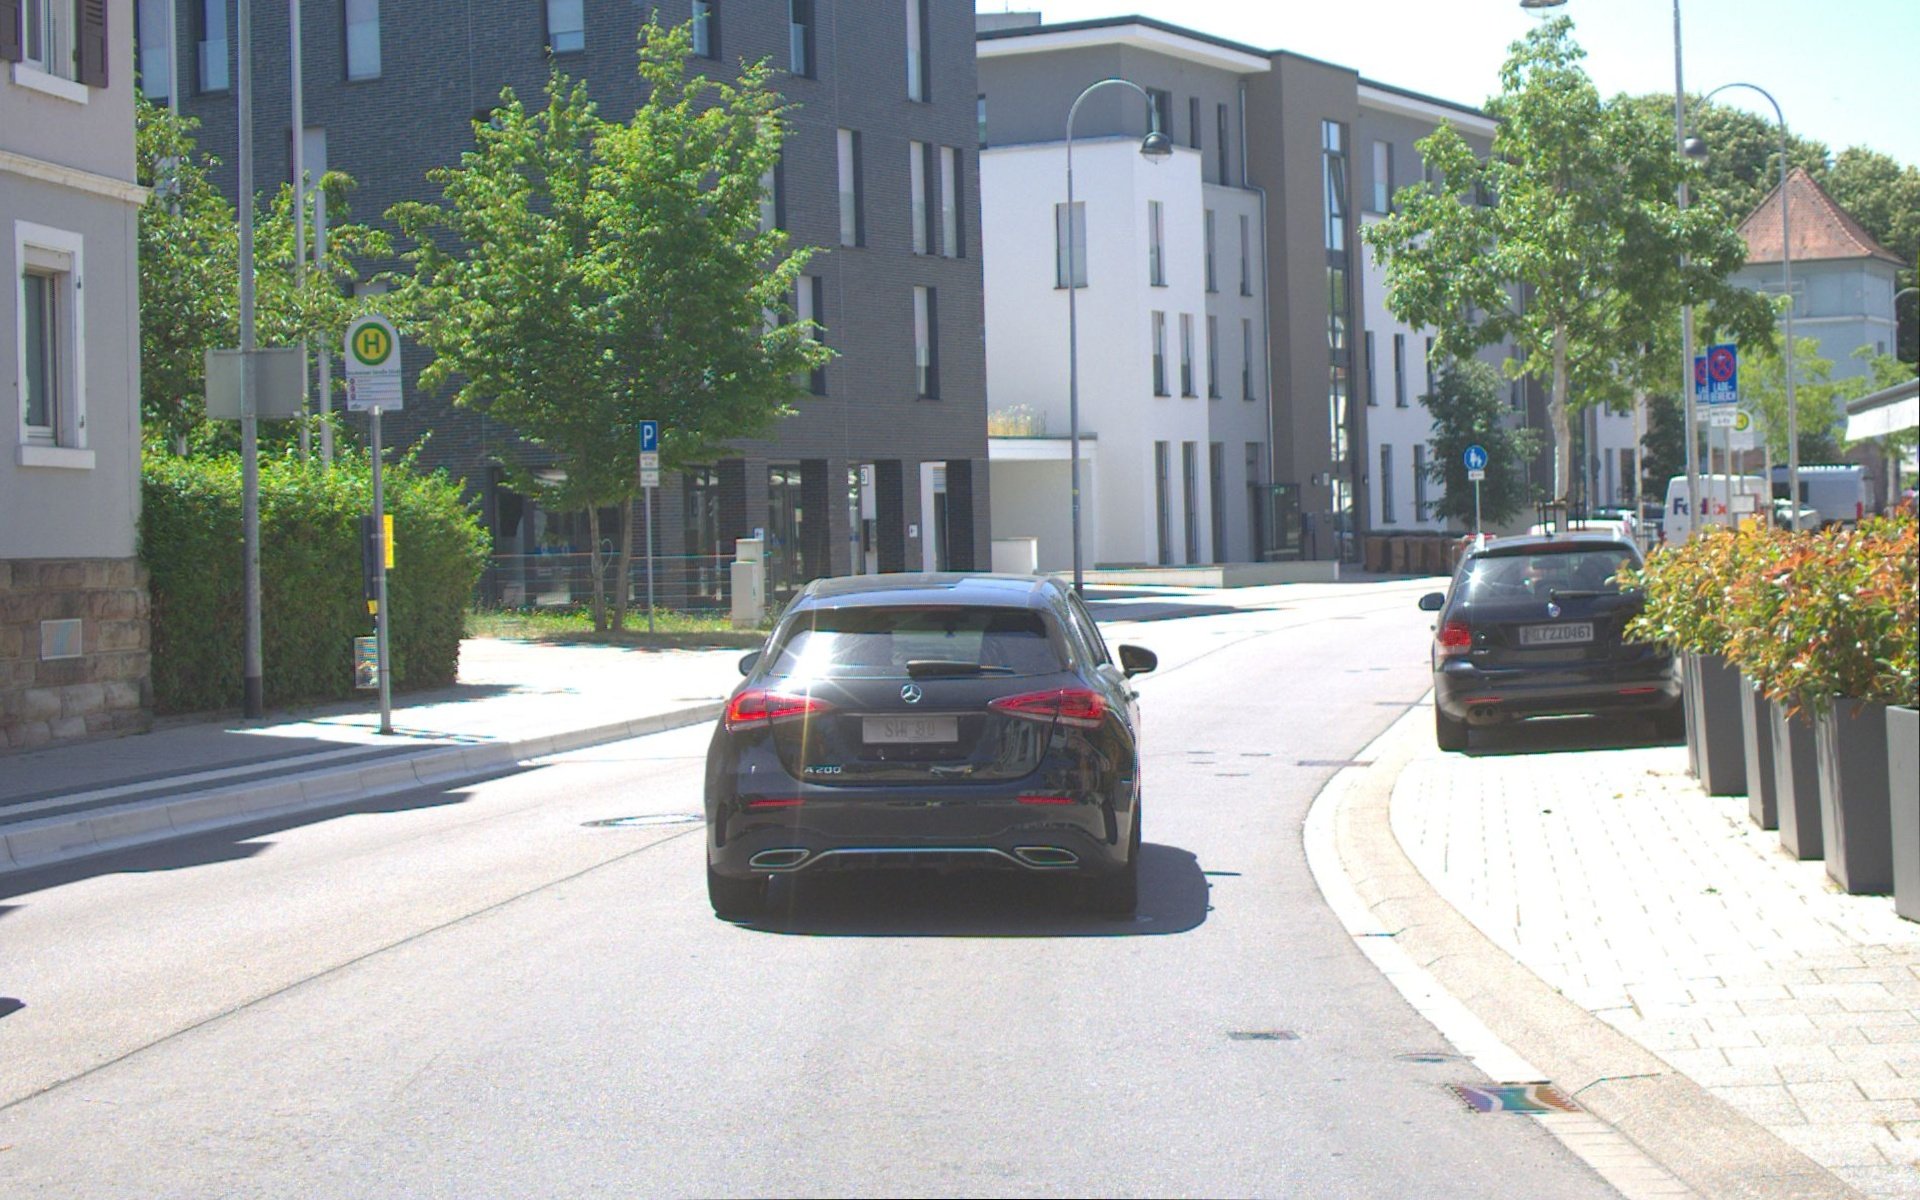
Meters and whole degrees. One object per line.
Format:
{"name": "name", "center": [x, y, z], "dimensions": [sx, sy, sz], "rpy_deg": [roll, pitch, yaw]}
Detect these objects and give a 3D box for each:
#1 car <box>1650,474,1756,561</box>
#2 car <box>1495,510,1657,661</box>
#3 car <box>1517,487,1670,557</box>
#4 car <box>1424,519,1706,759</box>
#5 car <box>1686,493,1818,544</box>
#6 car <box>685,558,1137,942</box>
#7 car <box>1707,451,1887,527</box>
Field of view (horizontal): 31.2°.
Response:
{"name": "car", "center": [17.939, -1.993, 82.896], "dimensions": [1.995, 2.007, 3.996], "rpy_deg": [-1, 1, 19]}
{"name": "car", "center": [6.822, -0.195, 38.318], "dimensions": [1.606, 1.525, 3.491], "rpy_deg": [-3, 1, 9]}
{"name": "car", "center": [18.767, -2.305, 101.918], "dimensions": [3.994, 2.007, 1.997], "rpy_deg": [0, 1, 31]}
{"name": "car", "center": [4.366, 0.221, 24.817], "dimensions": [1.751, 1.481, 3.999], "rpy_deg": [-4, 1, 10]}
{"name": "car", "center": [27.004, -2.781, 117.215], "dimensions": [3.993, 1.656, 1.997], "rpy_deg": [0, 1, 30]}
{"name": "car", "center": [-0.195, 0.564, 15.746], "dimensions": [1.763, 1.452, 4.439], "rpy_deg": [-1, 1, 0]}
{"name": "car", "center": [29.611, -3.913, 121.673], "dimensions": [5.651, 2.570, 2.511], "rpy_deg": [0, 1, 31]}
